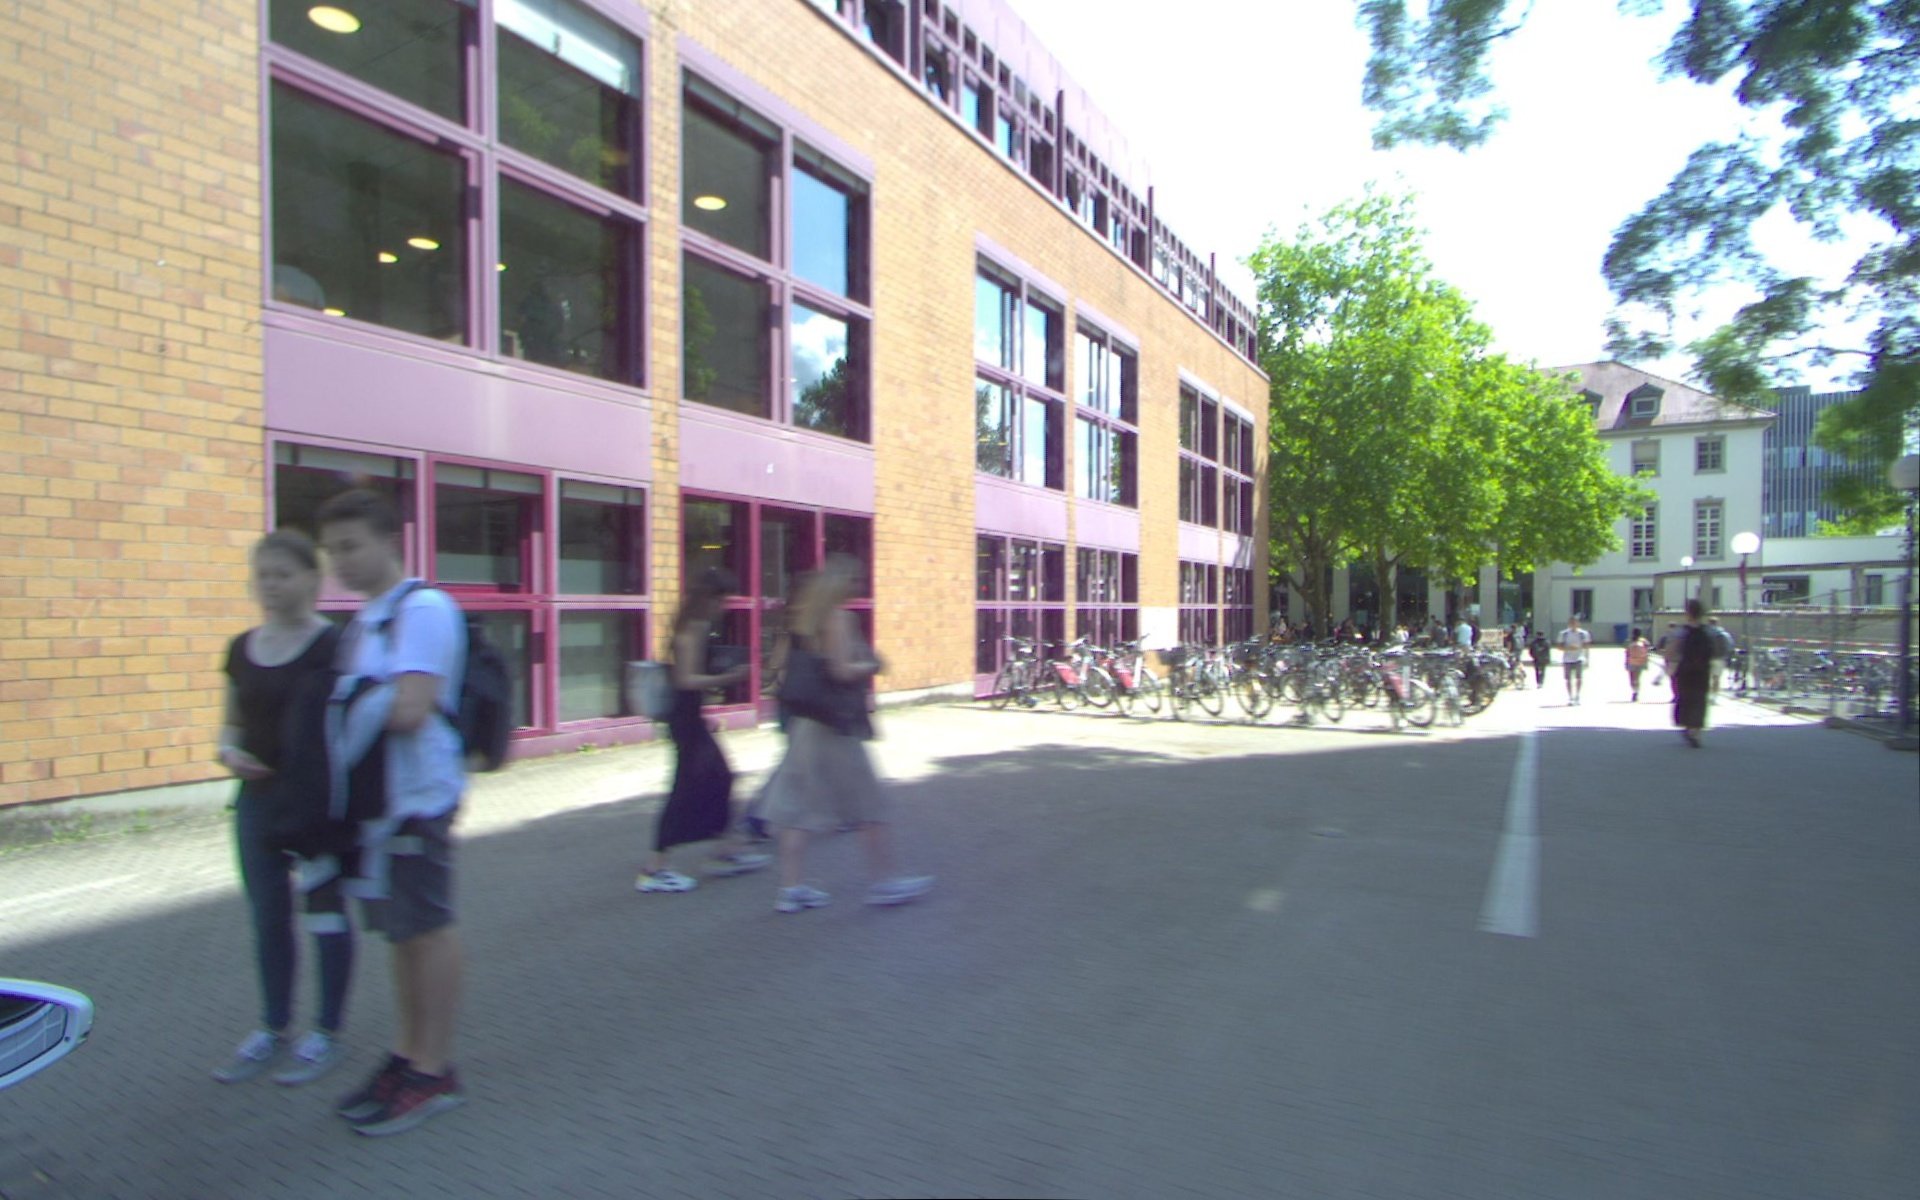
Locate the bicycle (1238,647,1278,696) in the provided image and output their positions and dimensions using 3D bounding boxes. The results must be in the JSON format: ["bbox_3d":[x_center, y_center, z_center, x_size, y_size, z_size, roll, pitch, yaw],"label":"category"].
[{"bbox_3d":[7.621,1.815,25.595,0.537,1.183,1.995,0,-3,30],"label":"bicycle"}]

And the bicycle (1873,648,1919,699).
[{"bbox_3d":[22.693,1.763,24.175,0.537,1.183,1.995,0,-3,30],"label":"bicycle"}]

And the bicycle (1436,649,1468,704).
[{"bbox_3d":[11.280,1.737,22.921,0.537,1.183,1.995,0,-3,30],"label":"bicycle"}]

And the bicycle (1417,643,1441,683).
[{"bbox_3d":[14.427,1.934,30.781,0.537,1.183,1.995,0,-3,30],"label":"bicycle"}]

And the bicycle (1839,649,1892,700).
[{"bbox_3d":[22.163,1.813,24.530,0.537,1.183,1.995,0,-3,30],"label":"bicycle"}]

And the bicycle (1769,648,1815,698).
[{"bbox_3d":[20.845,1.812,25.115,0.537,1.183,1.995,0,-3,30],"label":"bicycle"}]

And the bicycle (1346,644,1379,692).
[{"bbox_3d":[10.552,1.773,26.245,0.537,1.183,1.995,0,-3,30],"label":"bicycle"}]

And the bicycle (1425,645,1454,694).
[{"bbox_3d":[12.202,1.764,25.449,0.537,1.183,1.995,0,-3,30],"label":"bicycle"}]

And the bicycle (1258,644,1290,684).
[{"bbox_3d":[9.705,1.983,30.942,0.537,1.183,1.995,0,-3,30],"label":"bicycle"}]

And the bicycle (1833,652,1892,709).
[{"bbox_3d":[19.800,1.742,21.994,0.537,1.183,1.995,0,-3,30],"label":"bicycle"}]

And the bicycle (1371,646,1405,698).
[{"bbox_3d":[10.272,1.721,24.003,0.537,1.183,1.995,0,-3,30],"label":"bicycle"}]

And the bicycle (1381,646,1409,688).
[{"bbox_3d":[12.644,1.944,29.097,0.537,1.183,1.995,0,-3,30],"label":"bicycle"}]

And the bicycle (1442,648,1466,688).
[{"bbox_3d":[14.977,2.050,30.324,0.537,1.183,1.995,0,-3,30],"label":"bicycle"}]

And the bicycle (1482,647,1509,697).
[{"bbox_3d":[13.326,1.768,24.885,0.537,1.183,1.995,0,-3,30],"label":"bicycle"}]

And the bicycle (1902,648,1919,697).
[{"bbox_3d":[23.336,1.746,24.072,0.537,1.183,1.995,0,-3,30],"label":"bicycle"}]

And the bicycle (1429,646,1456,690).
[{"bbox_3d":[13.637,1.917,28.292,0.537,1.183,1.995,0,-3,30],"label":"bicycle"}]

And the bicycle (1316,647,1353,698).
[{"bbox_3d":[9.193,1.761,24.558,0.537,1.183,1.995,0,-3,30],"label":"bicycle"}]

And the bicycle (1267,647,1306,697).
[{"bbox_3d":[8.174,1.793,25.048,0.537,1.183,1.995,0,-3,30],"label":"bicycle"}]

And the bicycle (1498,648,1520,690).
[{"bbox_3d":[16.196,2.028,29.531,0.537,1.183,1.995,0,-3,30],"label":"bicycle"}]

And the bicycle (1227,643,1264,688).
[{"bbox_3d":[7.919,1.809,27.738,0.537,1.183,1.995,0,-3,30],"label":"bicycle"}]

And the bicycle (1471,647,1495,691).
[{"bbox_3d":[14.619,1.919,27.968,0.537,1.183,1.995,0,-3,30],"label":"bicycle"}]

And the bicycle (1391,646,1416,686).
[{"bbox_3d":[13.829,2.055,31.204,0.537,1.183,1.995,0,-3,30],"label":"bicycle"}]

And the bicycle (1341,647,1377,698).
[{"bbox_3d":[9.704,1.739,24.293,0.537,1.183,1.995,0,-3,30],"label":"bicycle"}]

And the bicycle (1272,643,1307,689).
[{"bbox_3d":[9.018,1.792,27.356,0.537,1.183,1.995,0,-3,30],"label":"bicycle"}]

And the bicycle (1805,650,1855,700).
[{"bbox_3d":[21.504,1.832,24.770,0.537,1.183,1.995,0,-3,30],"label":"bicycle"}]

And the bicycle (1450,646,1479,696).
[{"bbox_3d":[12.676,1.765,25.133,0.537,1.183,1.995,0,-3,30],"label":"bicycle"}]

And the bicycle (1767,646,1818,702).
[{"bbox_3d":[18.704,1.652,22.523,0.537,1.183,1.995,0,-3,30],"label":"bicycle"}]

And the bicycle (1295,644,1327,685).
[{"bbox_3d":[10.621,1.946,30.273,0.537,1.183,1.995,0,-3,30],"label":"bicycle"}]

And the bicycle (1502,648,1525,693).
[{"bbox_3d":[15.184,1.912,27.456,0.537,1.183,1.995,0,-3,30],"label":"bicycle"}]

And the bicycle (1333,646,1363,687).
[{"bbox_3d":[11.565,1.969,29.795,0.537,1.183,1.995,0,-3,30],"label":"bicycle"}]

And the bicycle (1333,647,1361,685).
[{"bbox_3d":[12.366,2.094,31.984,0.537,1.183,1.995,0,-3,30],"label":"bicycle"}]

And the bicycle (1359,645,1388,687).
[{"bbox_3d":[12.169,1.946,29.449,0.537,1.183,1.995,0,-3,30],"label":"bicycle"}]

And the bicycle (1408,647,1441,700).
[{"bbox_3d":[10.839,1.695,23.340,0.537,1.183,1.995,0,-3,30],"label":"bicycle"}]

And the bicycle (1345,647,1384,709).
[{"bbox_3d":[8.257,1.569,20.396,0.467,1.183,1.995,0,-3,30],"label":"bicycle"}]

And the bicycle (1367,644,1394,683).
[{"bbox_3d":[13.248,1.980,31.512,0.537,1.183,1.995,0,-3,30],"label":"bicycle"}]

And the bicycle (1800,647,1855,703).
[{"bbox_3d":[19.282,1.660,22.293,0.537,1.183,1.995,0,-3,30],"label":"bicycle"}]

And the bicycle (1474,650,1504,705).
[{"bbox_3d":[12.123,1.754,22.930,0.537,1.183,1.995,0,-3,30],"label":"bicycle"}]

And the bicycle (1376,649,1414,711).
[{"bbox_3d":[8.730,1.584,20.061,0.467,1.183,1.995,0,-3,30],"label":"bicycle"}]

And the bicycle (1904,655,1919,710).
[{"bbox_3d":[20.901,1.766,21.444,0.537,1.183,1.995,0,-3,30],"label":"bicycle"}]

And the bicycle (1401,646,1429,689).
[{"bbox_3d":[13.090,1.937,28.773,0.537,1.183,1.995,0,-3,30],"label":"bicycle"}]

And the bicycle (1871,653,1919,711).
[{"bbox_3d":[20.345,1.757,21.646,0.537,1.183,1.995,0,-3,30],"label":"bicycle"}]

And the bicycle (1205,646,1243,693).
[{"bbox_3d":[6.880,1.792,26.034,0.537,1.183,1.996,0,-3,28],"label":"bicycle"}]
